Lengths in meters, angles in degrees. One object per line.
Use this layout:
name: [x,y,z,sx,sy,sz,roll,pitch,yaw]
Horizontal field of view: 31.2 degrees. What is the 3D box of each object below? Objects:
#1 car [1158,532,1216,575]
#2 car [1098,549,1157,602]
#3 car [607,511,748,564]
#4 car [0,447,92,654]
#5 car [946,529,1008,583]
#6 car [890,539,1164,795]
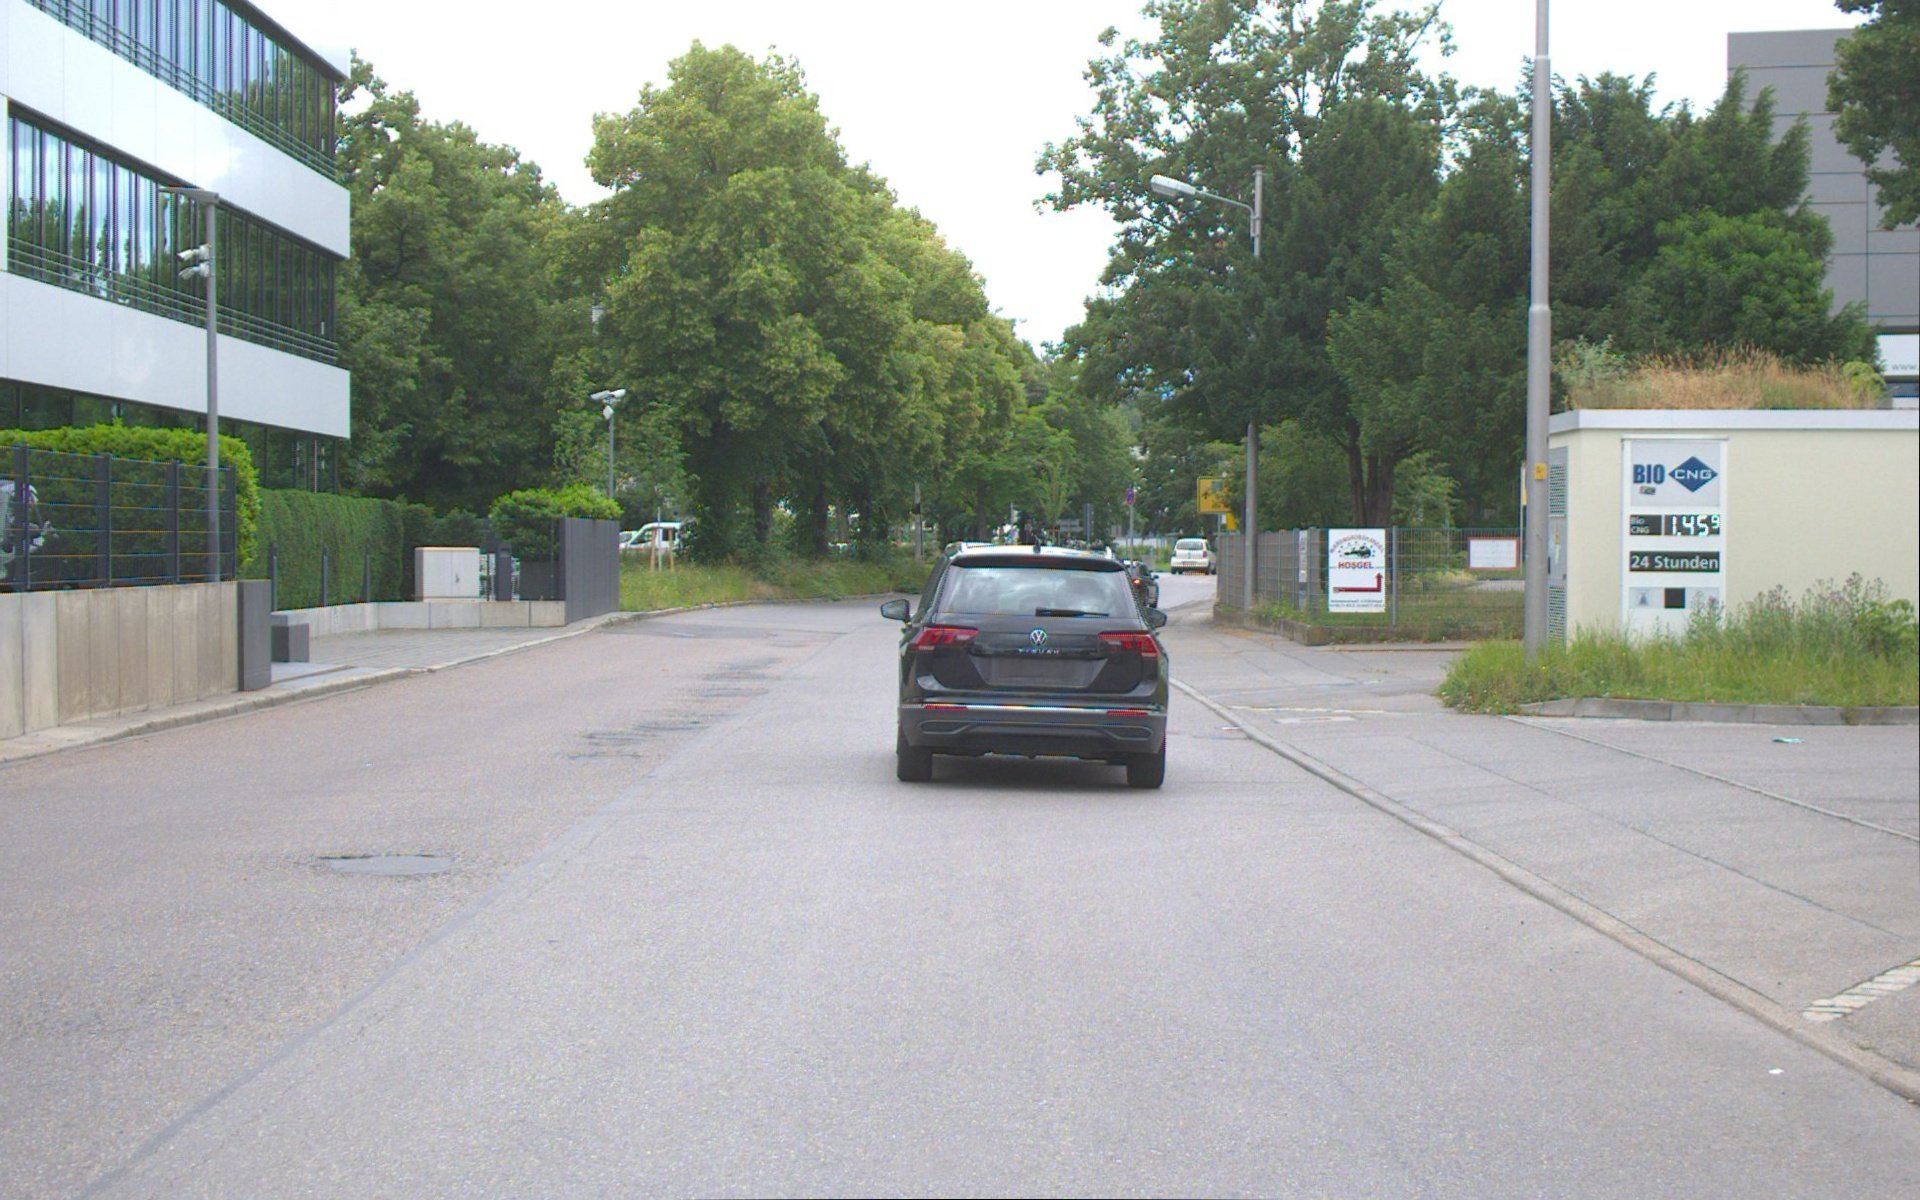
car: [9.699,-1.975,146.733,1.994,1.780,3.998,1,1,11]
car: [5.078,-0.753,104.580,1.659,1.569,3.828,0,1,1]
car: [-12.745,-2.817,155.432,6.071,2.379,2.394,0,1,3]
car: [-8.945,-0.459,30.361,1.650,1.756,3.179,2,1,1]
car: [0.588,-1.493,117.551,1.808,1.758,4.205,2,1,4]
car: [0.504,0.434,24.124,1.739,1.612,3.641,2,0,2]
